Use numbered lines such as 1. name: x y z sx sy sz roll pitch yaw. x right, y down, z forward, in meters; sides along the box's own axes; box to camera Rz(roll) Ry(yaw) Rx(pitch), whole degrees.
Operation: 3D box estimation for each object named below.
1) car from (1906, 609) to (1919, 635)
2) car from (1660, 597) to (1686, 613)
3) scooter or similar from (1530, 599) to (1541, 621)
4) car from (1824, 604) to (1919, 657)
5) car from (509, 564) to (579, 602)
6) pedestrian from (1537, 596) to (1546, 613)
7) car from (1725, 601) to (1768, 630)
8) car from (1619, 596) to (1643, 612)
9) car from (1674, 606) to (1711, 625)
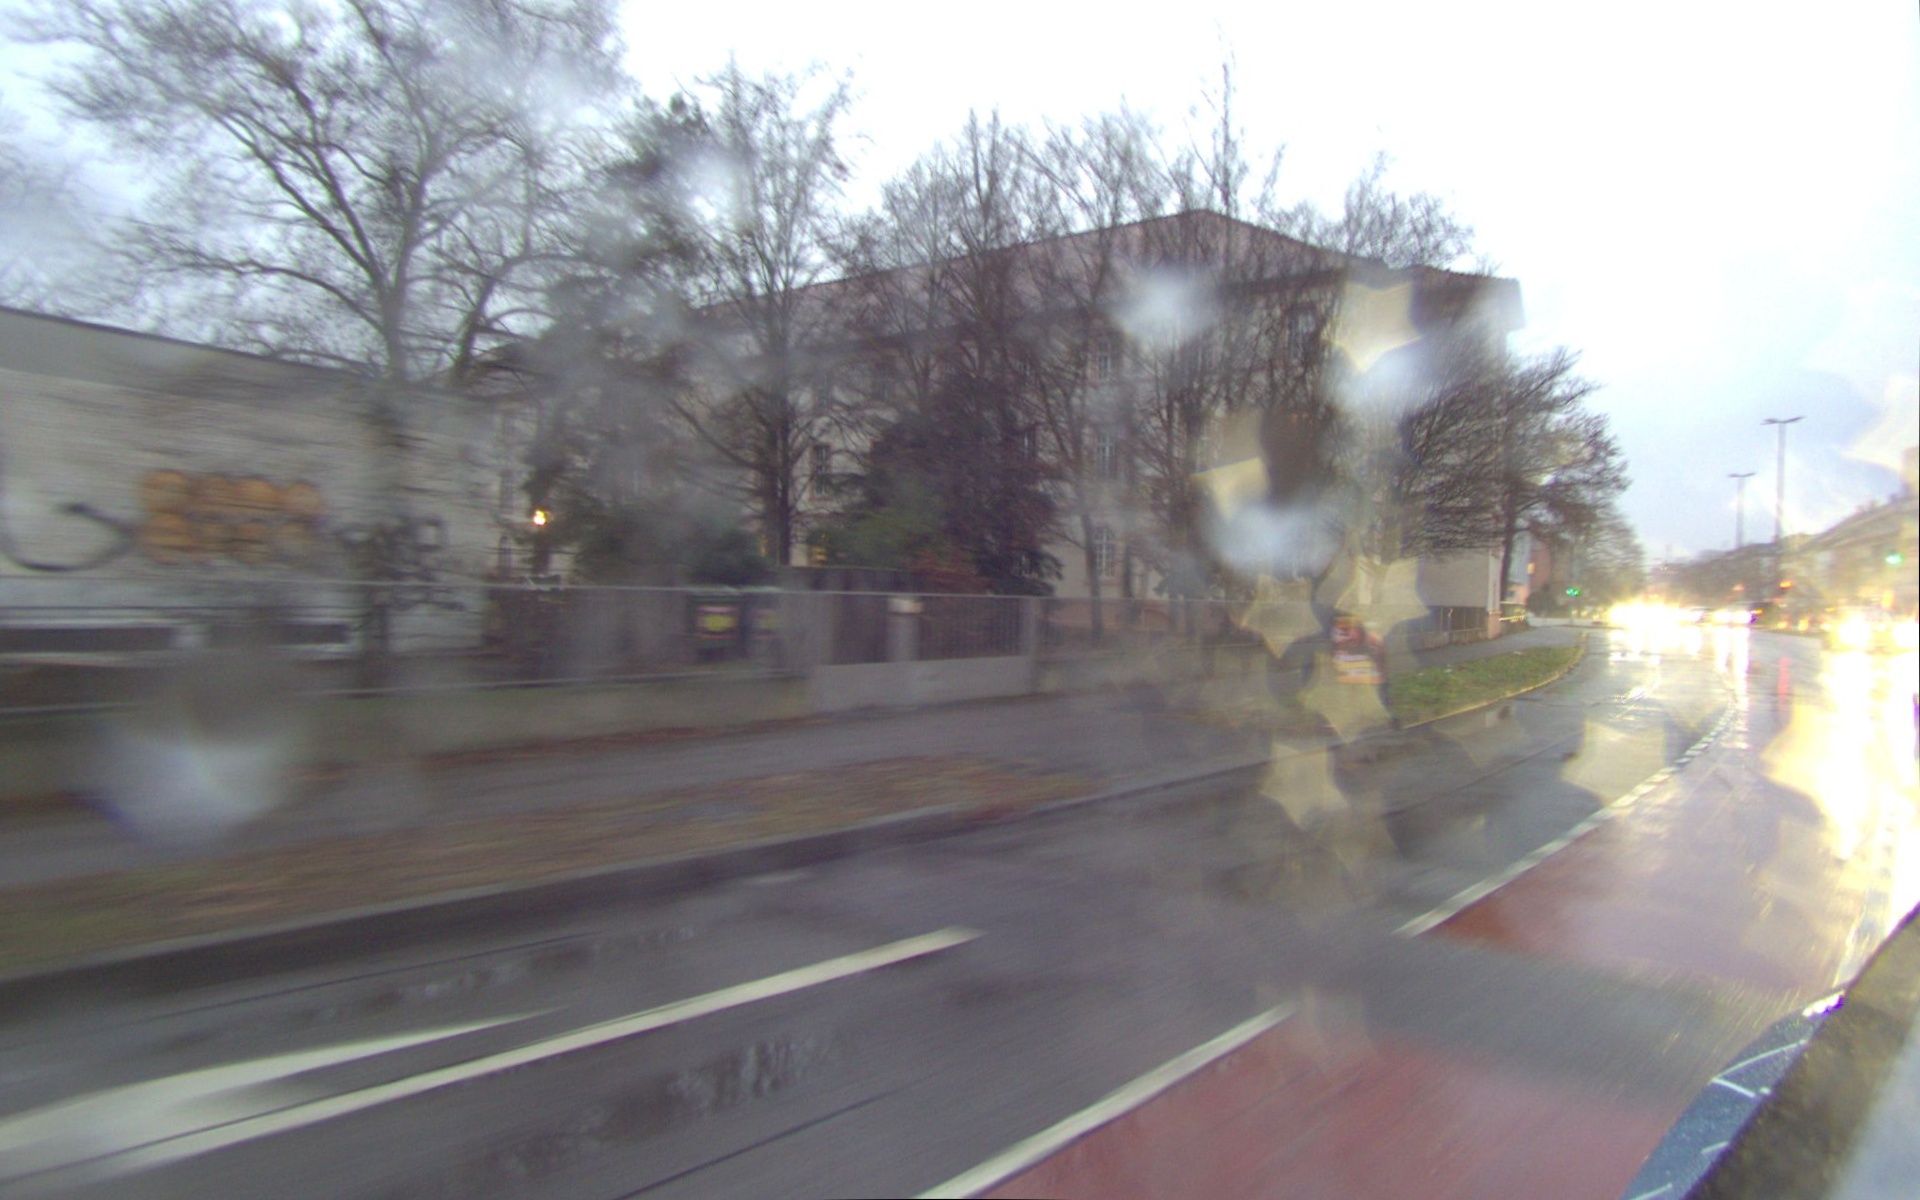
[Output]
1. car: 53.240 1.213 54.845 1.953 1.404 4.483 2 1 31
2. car: 74.190 0.547 105.392 1.985 1.554 3.954 1 0 32
3. scooter or similar: 32.635 0.557 57.412 0.437 1.219 1.072 0 -1 23
4. car: 33.188 1.050 36.906 1.806 1.764 4.140 2 1 31
5. car: -22.139 -0.885 53.780 4.080 1.943 1.836 0 0 41
6. pedestrian: 55.587 0.458 96.725 0.649 1.609 0.558 0 -1 24
7. car: 59.101 1.119 76.127 1.983 2.039 3.957 2 1 30
8. car: 71.193 0.421 107.361 1.985 1.717 3.954 1 0 32
9. car: 57.976 1.212 80.134 1.953 1.404 4.483 2 1 31
